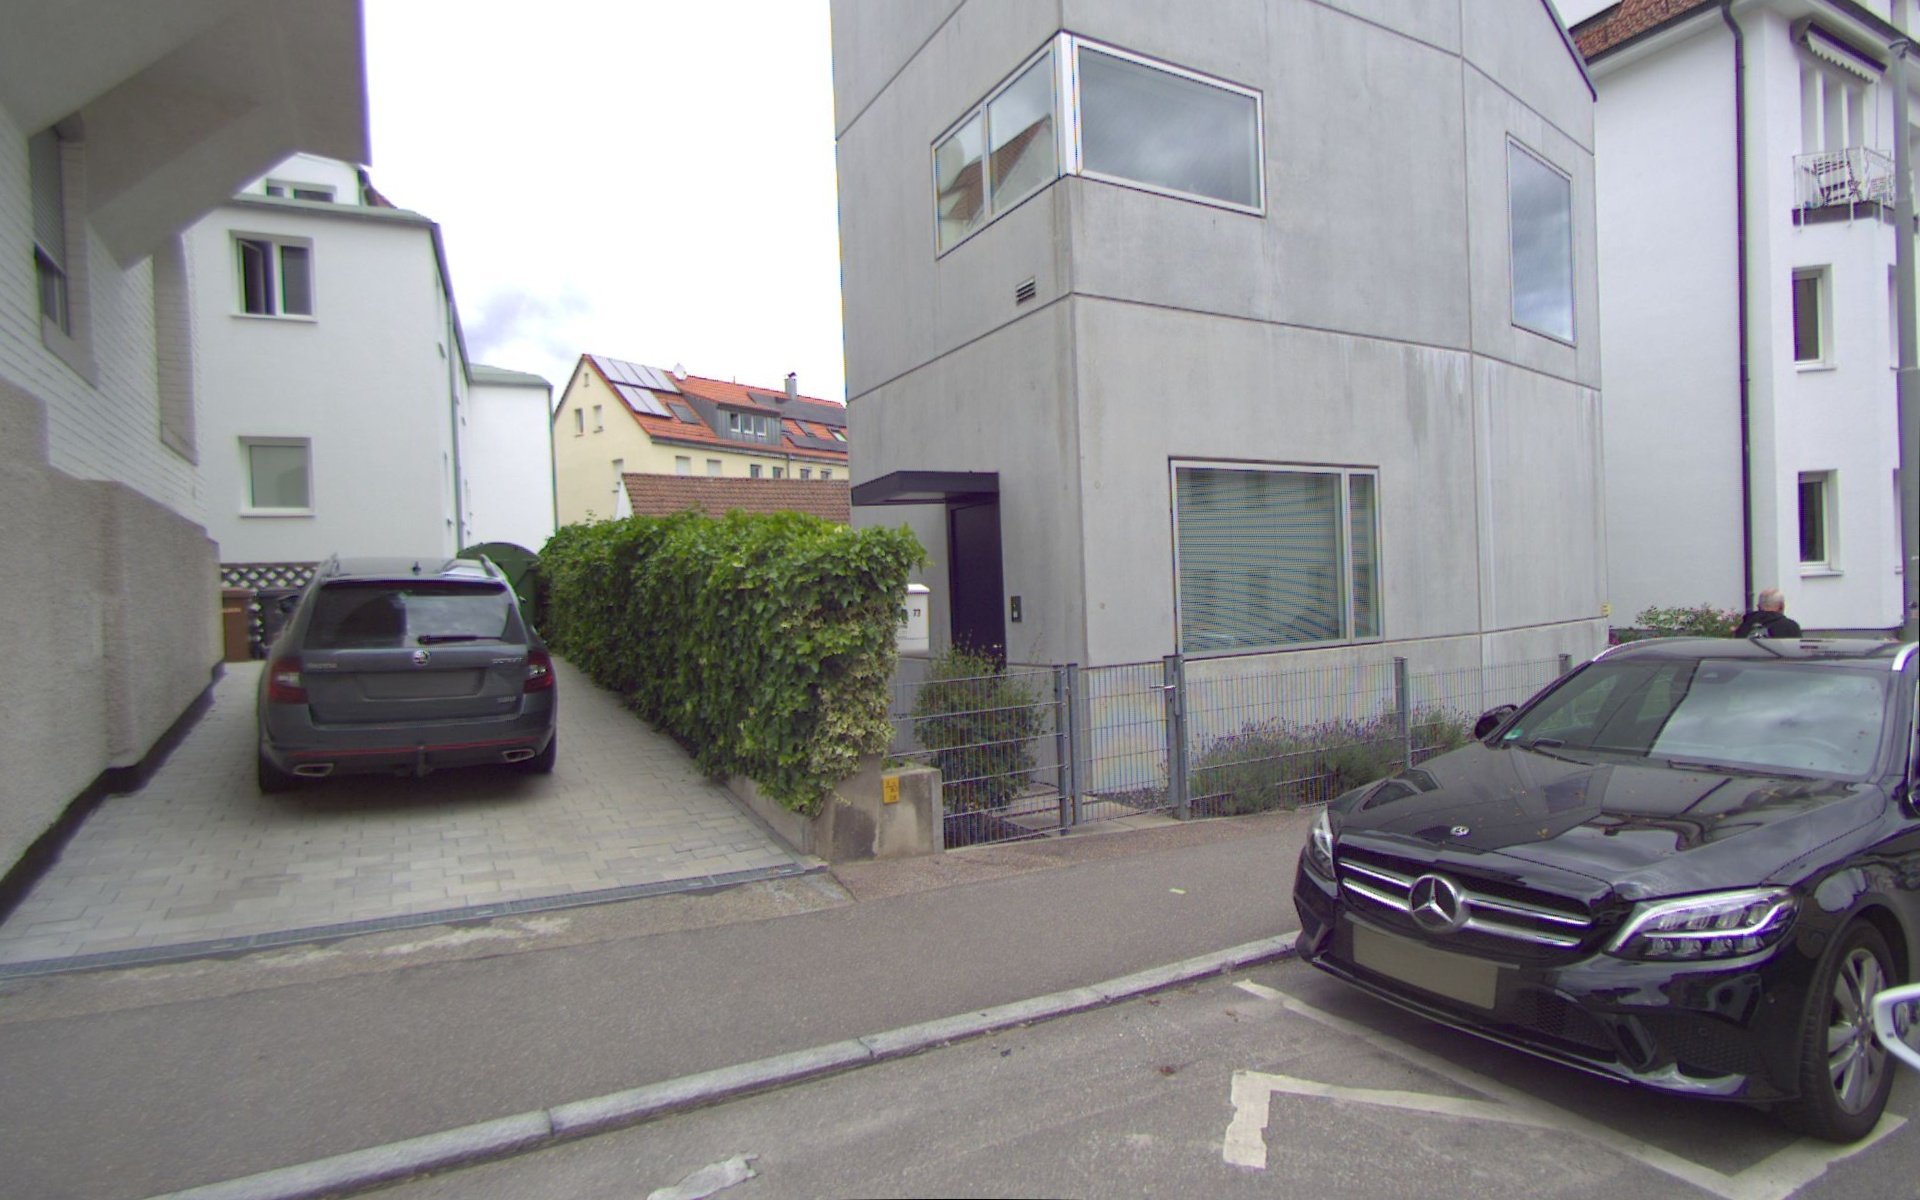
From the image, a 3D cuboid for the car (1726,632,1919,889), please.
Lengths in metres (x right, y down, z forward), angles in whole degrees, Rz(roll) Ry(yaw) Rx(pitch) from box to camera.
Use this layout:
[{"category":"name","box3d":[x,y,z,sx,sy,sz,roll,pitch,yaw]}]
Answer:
[{"category":"car","box3d":[7.602,0.954,7.013,5.002,1.431,1.836,1,-1,-30]}]

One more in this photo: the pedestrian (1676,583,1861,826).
[{"category":"pedestrian","box3d":[6.706,0.831,8.370,0.831,1.909,0.818,-1,-1,-7]}]

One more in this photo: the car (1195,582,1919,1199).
[{"category":"car","box3d":[3.279,0.787,4.324,4.421,1.547,1.885,1,-2,-32]}]

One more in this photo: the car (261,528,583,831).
[{"category":"car","box3d":[-3.895,0.338,7.474,1.636,1.524,3.649,1,6,-27]}]
